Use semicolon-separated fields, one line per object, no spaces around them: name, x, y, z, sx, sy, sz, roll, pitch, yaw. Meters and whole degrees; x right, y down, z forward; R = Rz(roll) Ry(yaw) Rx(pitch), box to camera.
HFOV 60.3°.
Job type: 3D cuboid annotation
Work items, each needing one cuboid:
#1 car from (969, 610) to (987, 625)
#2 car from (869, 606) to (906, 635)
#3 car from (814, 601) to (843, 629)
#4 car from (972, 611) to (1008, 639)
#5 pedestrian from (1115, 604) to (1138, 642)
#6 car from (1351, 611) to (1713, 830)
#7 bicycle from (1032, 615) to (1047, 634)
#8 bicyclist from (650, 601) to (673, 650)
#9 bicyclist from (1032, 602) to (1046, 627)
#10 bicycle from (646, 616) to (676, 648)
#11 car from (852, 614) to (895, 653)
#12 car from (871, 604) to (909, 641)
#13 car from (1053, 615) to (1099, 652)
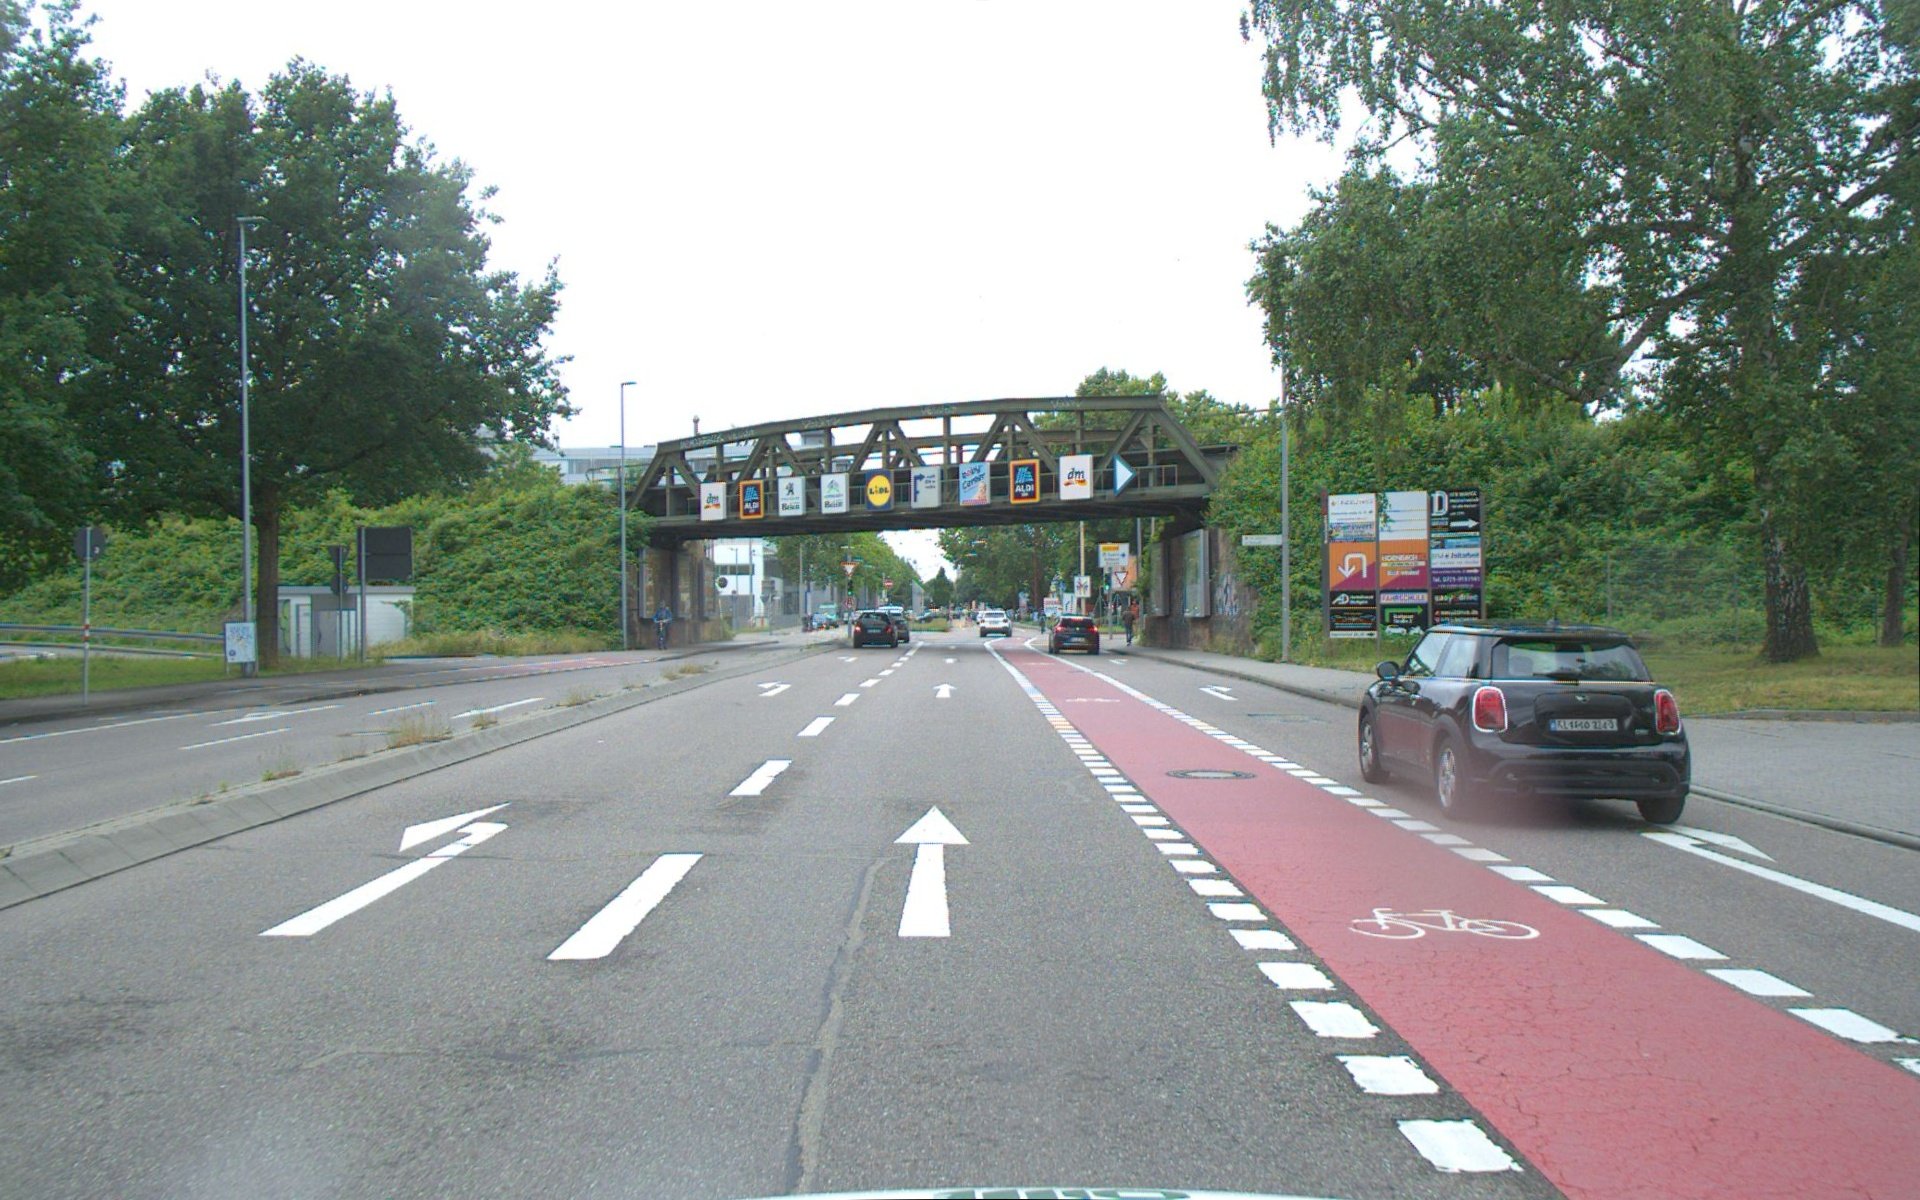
car;2.025;1.950;184.377;1.760;1.540;3.703;0;0;-4
car;-4.085;1.146;92.861;1.923;1.554;5.006;0;0;-4
car;-13.937;1.562;175.274;2.280;2.875;5.951;-1;-1;3
car;1.742;1.460;97.602;1.787;1.628;3.773;0;0;-4
pedestrian;7.233;1.000;71.874;0.730;1.669;0.774;0;-1;-19
car;4.345;0.832;13.163;1.644;1.456;3.774;0;0;1
bicycle;5.293;1.612;110.129;0.800;1.234;2.682;-1;-1;-1
bicyclist;-11.645;0.992;64.506;0.687;1.907;1.020;1;-1;0
bicyclist;5.277;0.945;110.136;0.800;1.659;1.235;-1;-1;-1
bicycle;-11.649;1.256;64.506;0.698;1.207;2.370;1;-1;0
car;-3.644;1.364;69.154;1.733;1.554;3.667;0;0;-4
car;-3.371;1.060;79.465;1.737;1.681;3.667;0;0;-4
car;4.300;1.235;61.793;1.613;1.303;3.420;0;0;2
